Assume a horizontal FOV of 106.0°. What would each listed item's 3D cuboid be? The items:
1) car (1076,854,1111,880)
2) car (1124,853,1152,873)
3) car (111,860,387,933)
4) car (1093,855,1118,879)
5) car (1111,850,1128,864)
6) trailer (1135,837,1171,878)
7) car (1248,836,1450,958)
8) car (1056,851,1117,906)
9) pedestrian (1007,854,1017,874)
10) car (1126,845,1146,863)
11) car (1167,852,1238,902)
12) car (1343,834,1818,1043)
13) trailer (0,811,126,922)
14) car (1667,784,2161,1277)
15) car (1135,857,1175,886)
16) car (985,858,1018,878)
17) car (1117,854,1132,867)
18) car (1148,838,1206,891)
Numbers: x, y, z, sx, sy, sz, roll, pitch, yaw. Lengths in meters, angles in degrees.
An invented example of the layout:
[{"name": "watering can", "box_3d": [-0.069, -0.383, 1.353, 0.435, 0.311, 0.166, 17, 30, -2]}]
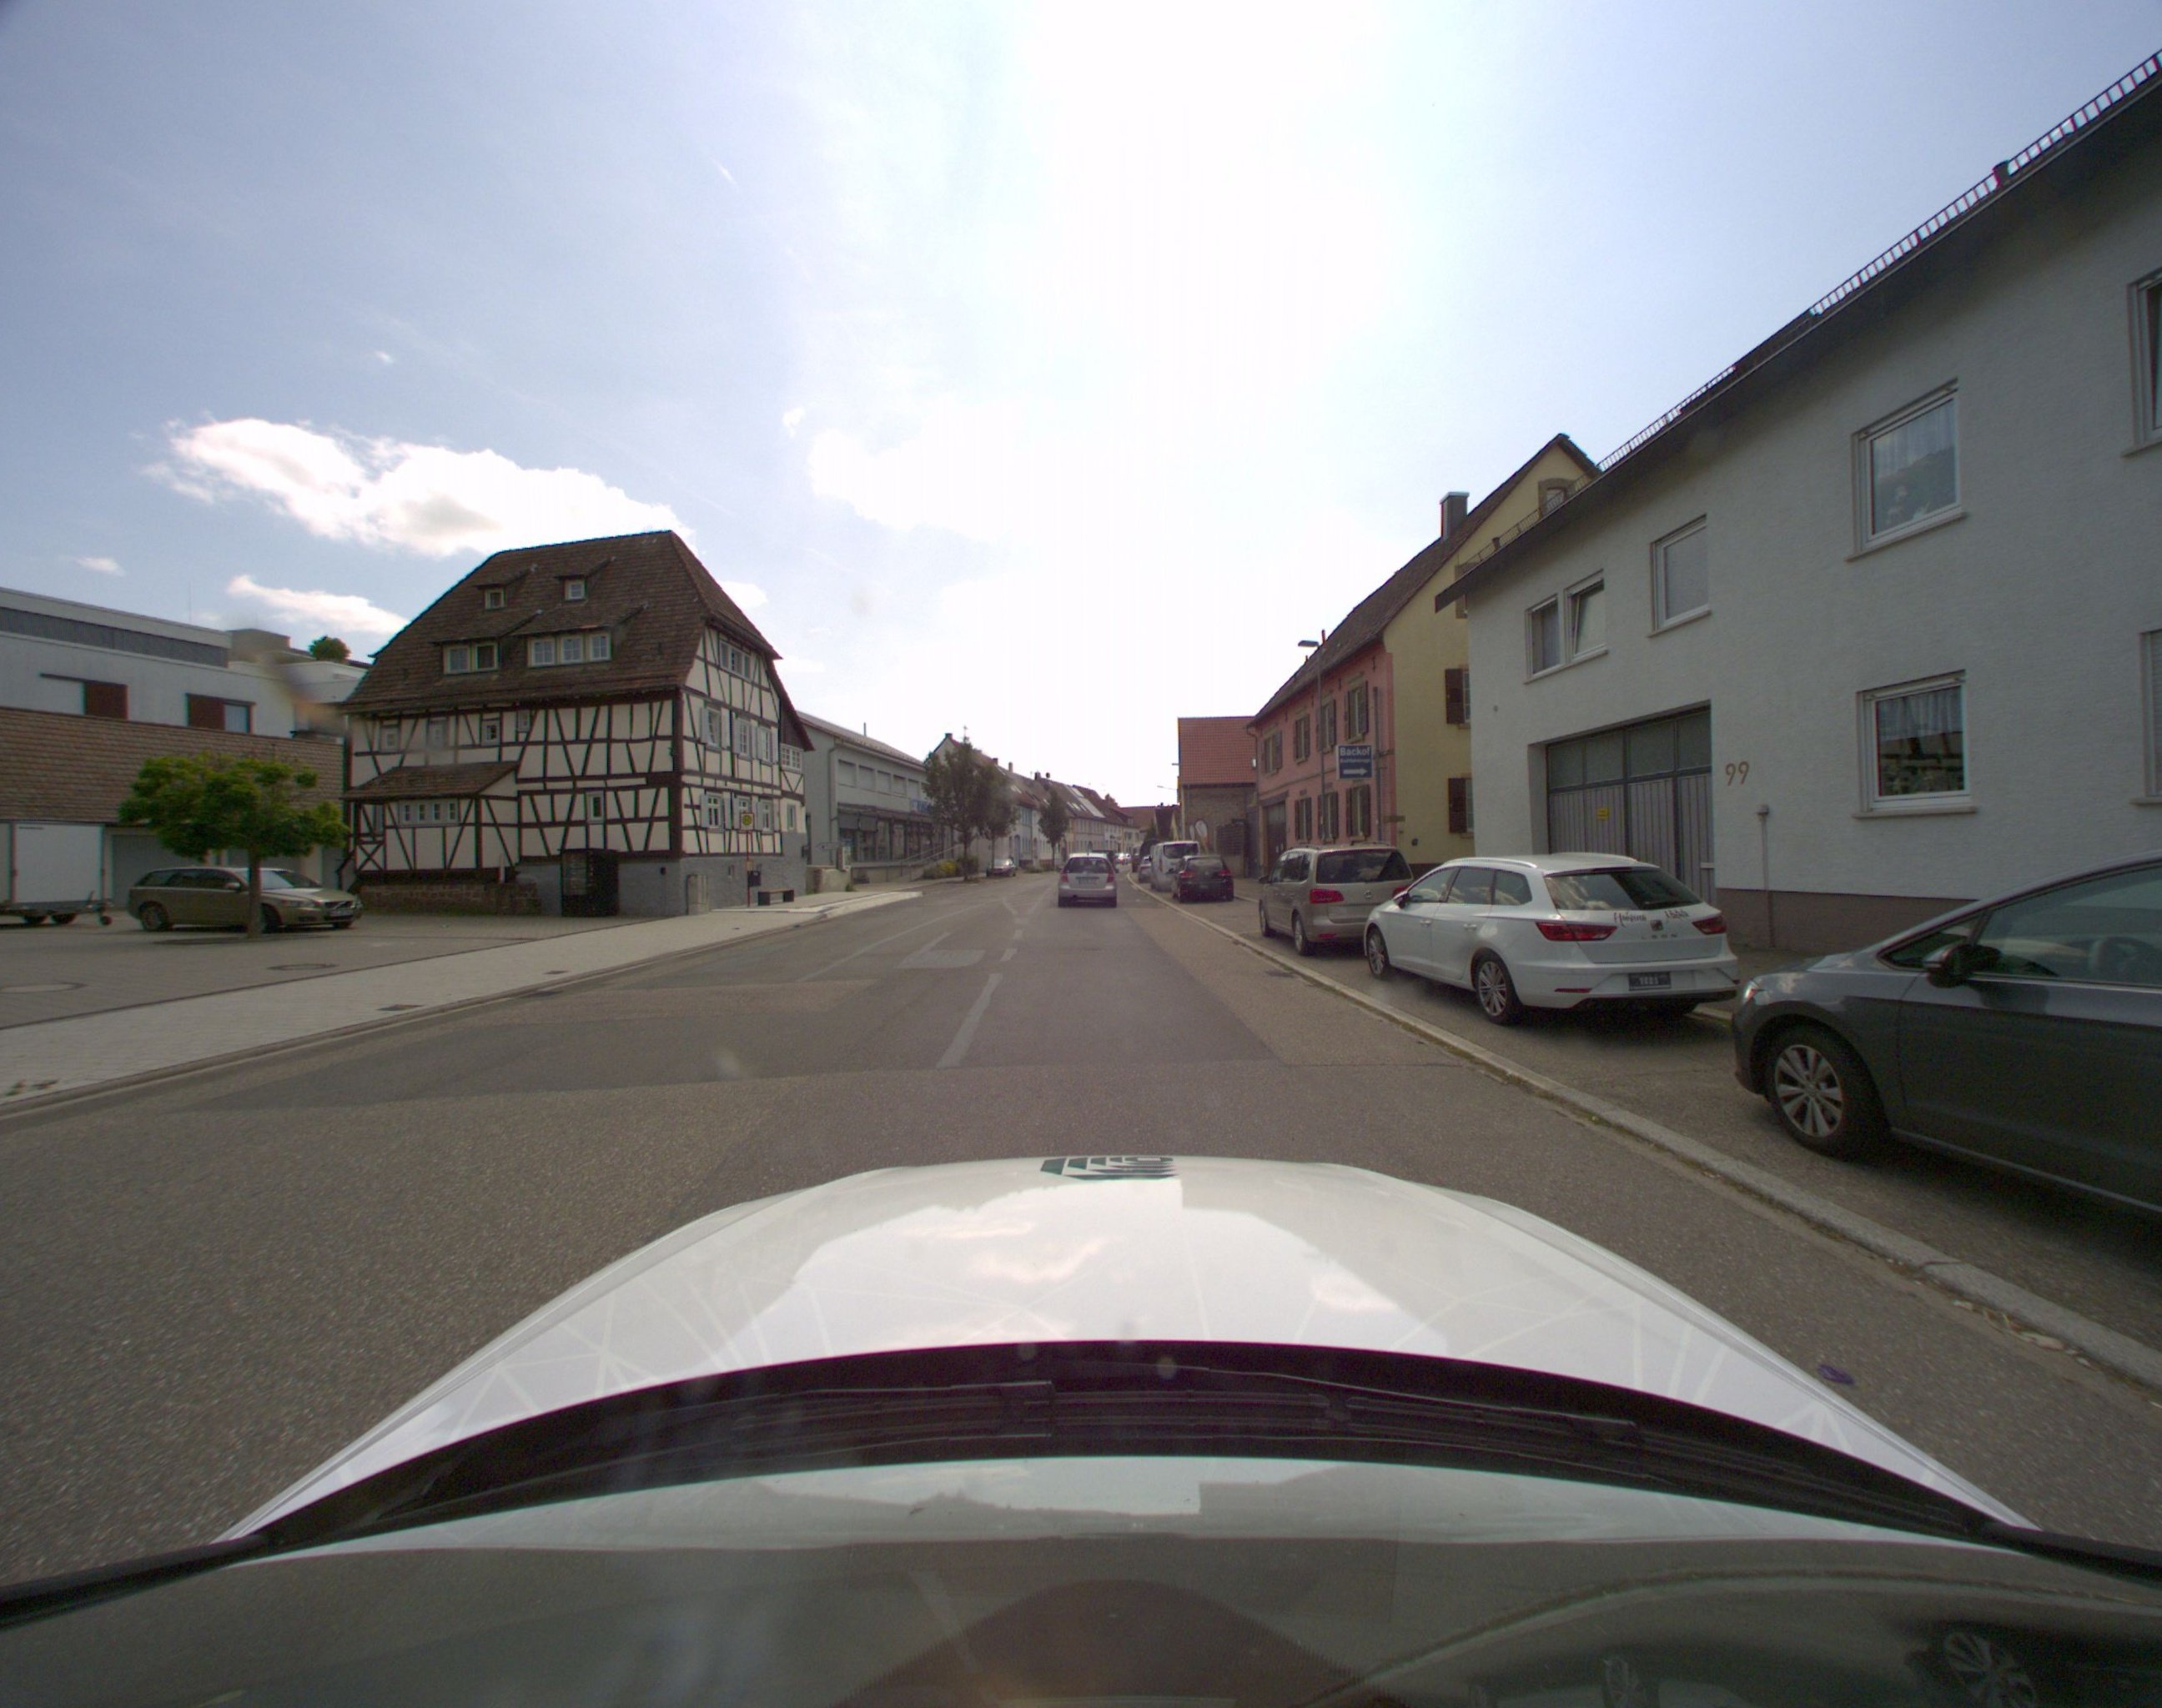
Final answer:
[{"name": "car", "box_3d": [0.698, 0.755, 48.016, 1.938, 1.407, 4.000, 2, -1, 0]}, {"name": "car", "box_3d": [4.827, 0.756, 68.535, 1.982, 1.559, 4.009, -2, 0, 8]}, {"name": "car", "box_3d": [-18.835, 0.918, 18.570, 4.406, 1.389, 1.967, 2, 0, 4]}, {"name": "car", "box_3d": [2.080, 1.115, 68.090, 1.760, 1.888, 4.453, 2, -1, 5]}, {"name": "car", "box_3d": [5.224, 0.460, 110.427, 1.983, 1.750, 4.007, -2, -1, 7]}, {"name": "trailer", "box_3d": [4.363, 0.192, 49.592, 1.839, 2.354, 3.589, -1, 0, 0]}, {"name": "car", "box_3d": [4.184, 0.614, 13.551, 1.986, 1.680, 4.324, -1, 0, 1]}, {"name": "car", "box_3d": [0.156, 0.733, 25.466, 1.763, 1.595, 3.999, 0, -1, 0]}, {"name": "pedestrian", "box_3d": [-6.146, 0.890, 72.462, 0.736, 1.801, 0.643, -2, -1, 2]}, {"name": "car", "box_3d": [7.153, 0.071, 105.302, 2.223, 2.222, 4.009, -2, -1, 8]}, {"name": "car", "box_3d": [3.949, 0.708, 27.032, 1.768, 1.495, 4.162, -1, 0, 1]}, {"name": "car", "box_3d": [4.458, 0.640, 8.284, 1.989, 1.517, 4.366, -1, 0, -3]}, {"name": "trailer", "box_3d": [-25.673, 0.245, 19.087, 4.405, 2.426, 1.967, 1, -1, 5]}, {"name": "car", "box_3d": [4.377, 0.566, 2.769, 1.657, 1.624, 4.270, -1, 0, 0]}, {"name": "car", "box_3d": [4.007, 0.904, 44.598, 1.869, 1.481, 4.675, 0, 0, 1]}, {"name": "car", "box_3d": [-6.044, 1.051, 62.447, 1.796, 1.460, 4.163, 0, 0, 4]}, {"name": "car", "box_3d": [7.030, 1.083, 131.290, 1.983, 2.014, 4.008, -2, -1, 7]}, {"name": "car", "box_3d": [3.985, 0.429, 34.658, 1.885, 1.982, 4.931, -3, 0, 1]}]
